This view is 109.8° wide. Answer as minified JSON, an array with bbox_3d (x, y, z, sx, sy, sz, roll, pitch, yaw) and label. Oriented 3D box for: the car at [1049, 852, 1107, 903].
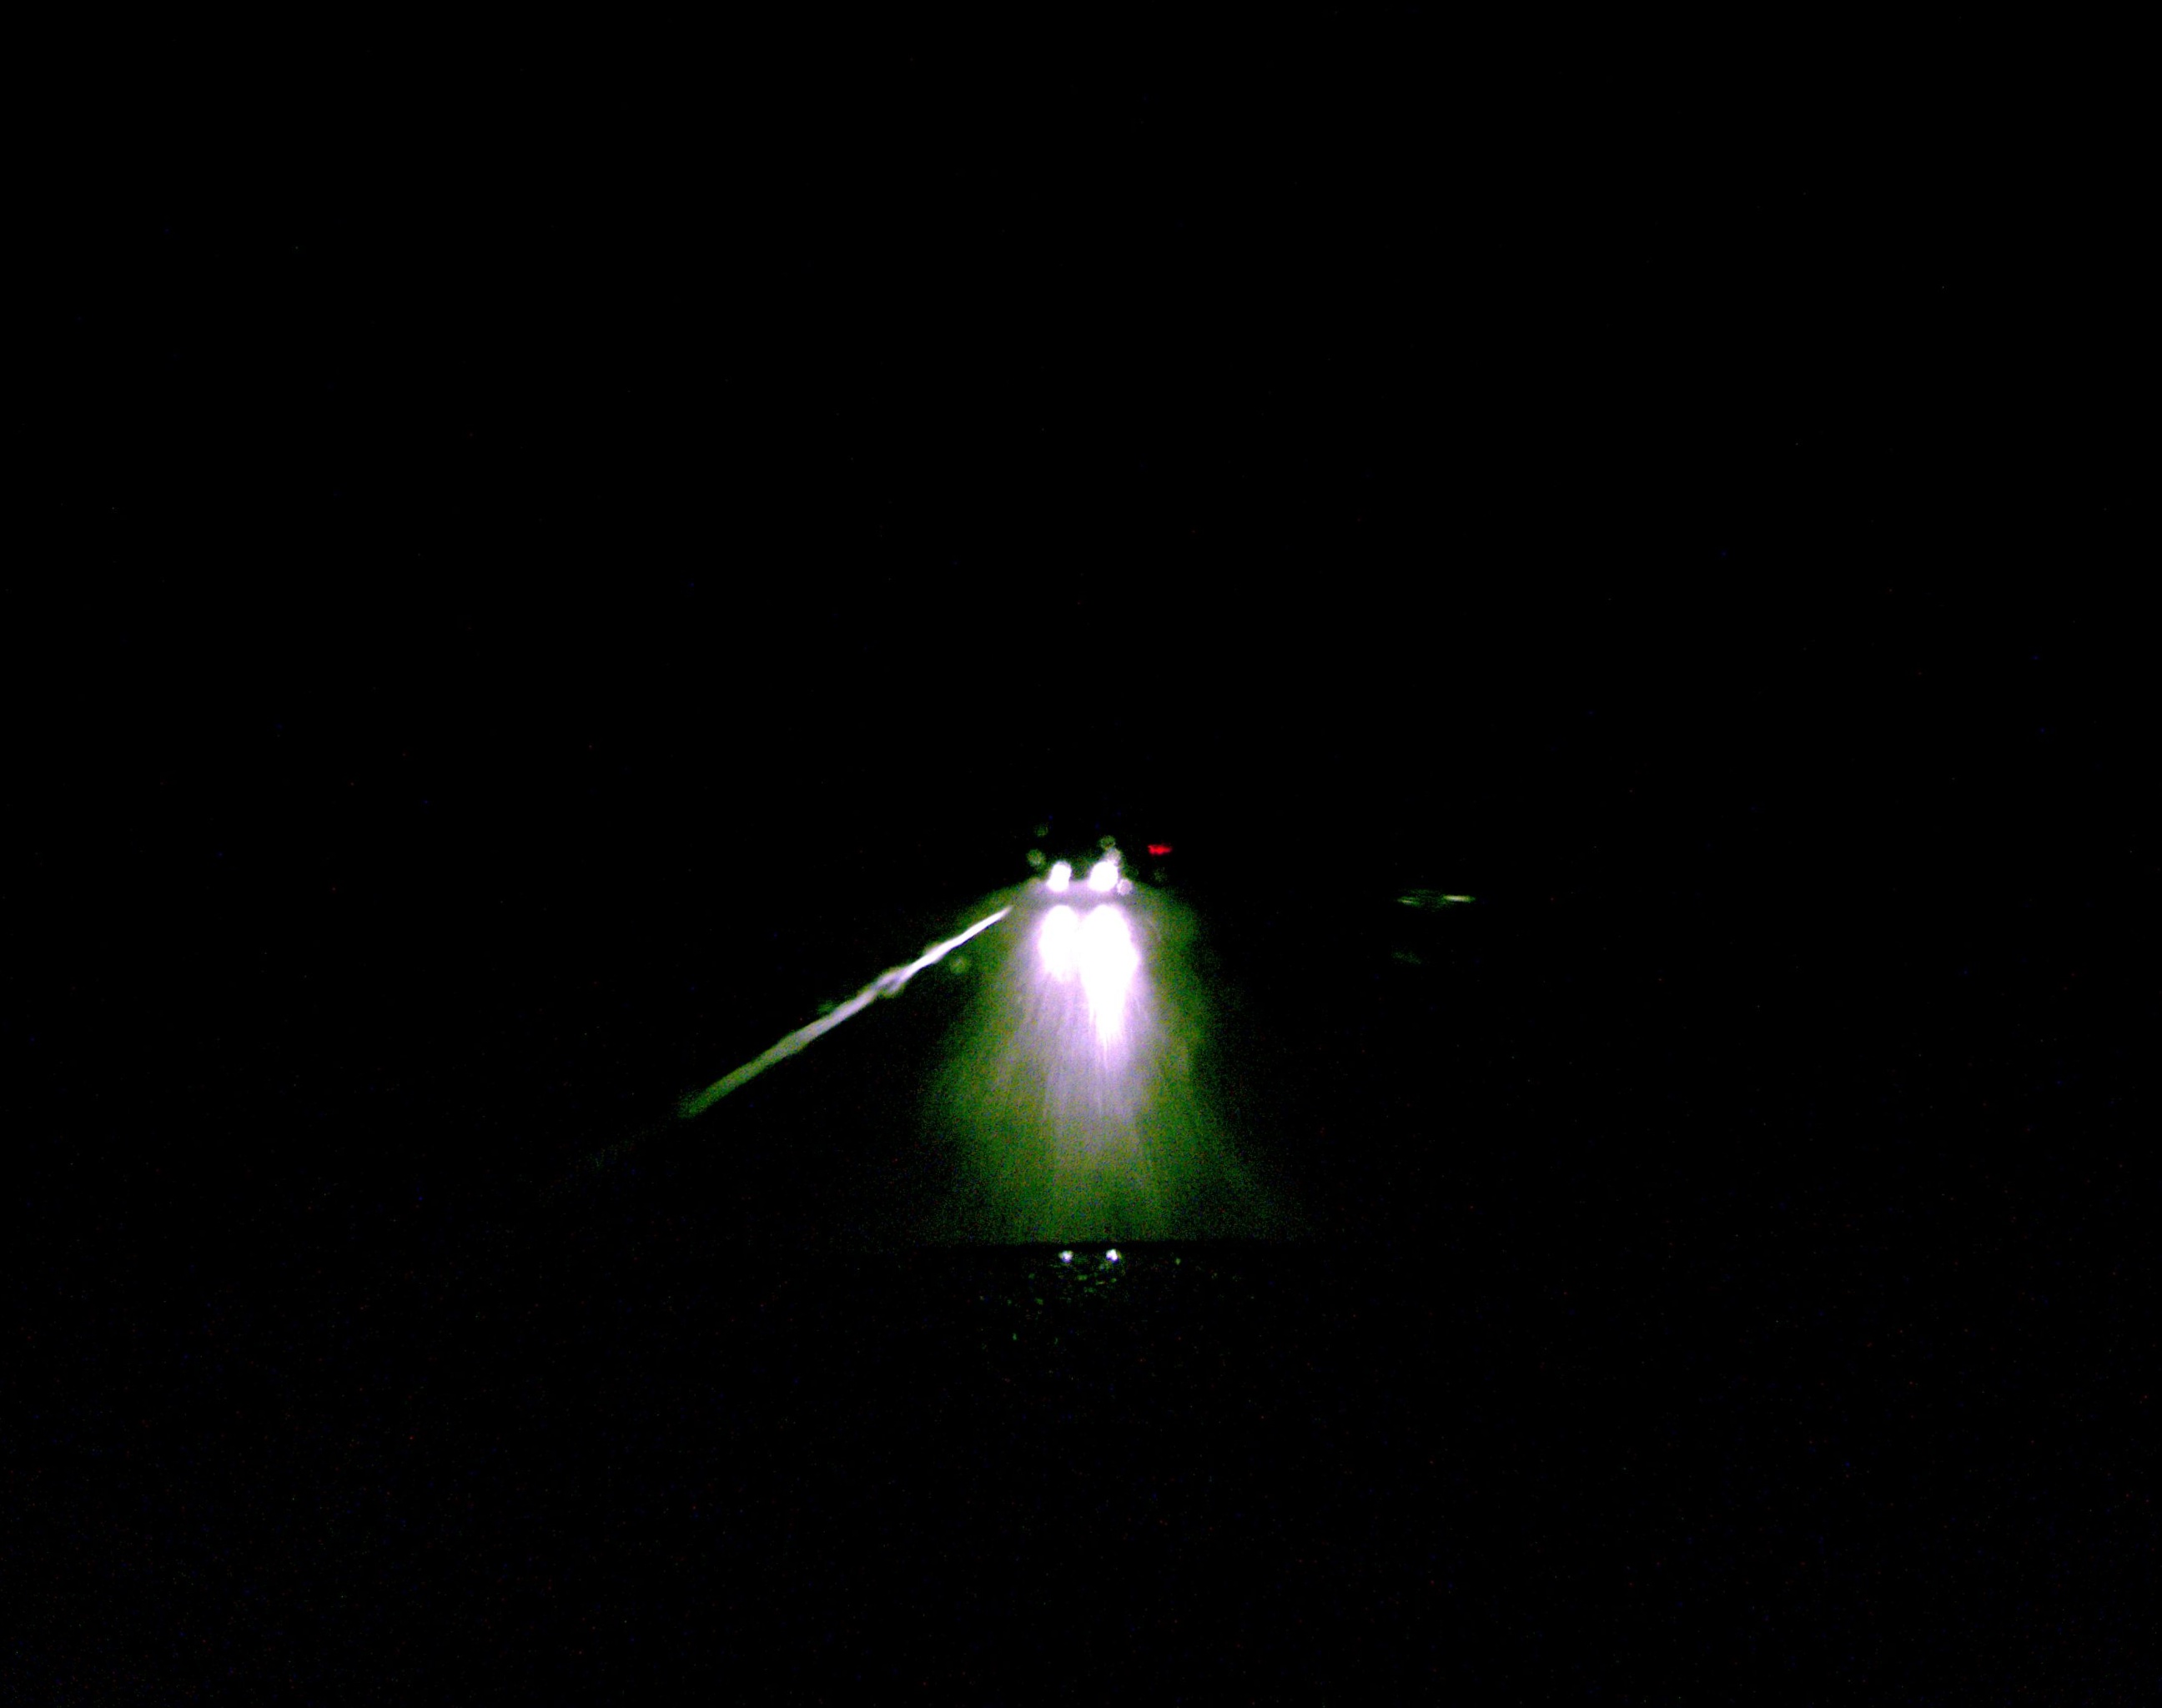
[{"bbox_3d":[-0.025,0.834,27.291,1.793,1.593,4.002,-4,-2,2],"label":"car"}]
